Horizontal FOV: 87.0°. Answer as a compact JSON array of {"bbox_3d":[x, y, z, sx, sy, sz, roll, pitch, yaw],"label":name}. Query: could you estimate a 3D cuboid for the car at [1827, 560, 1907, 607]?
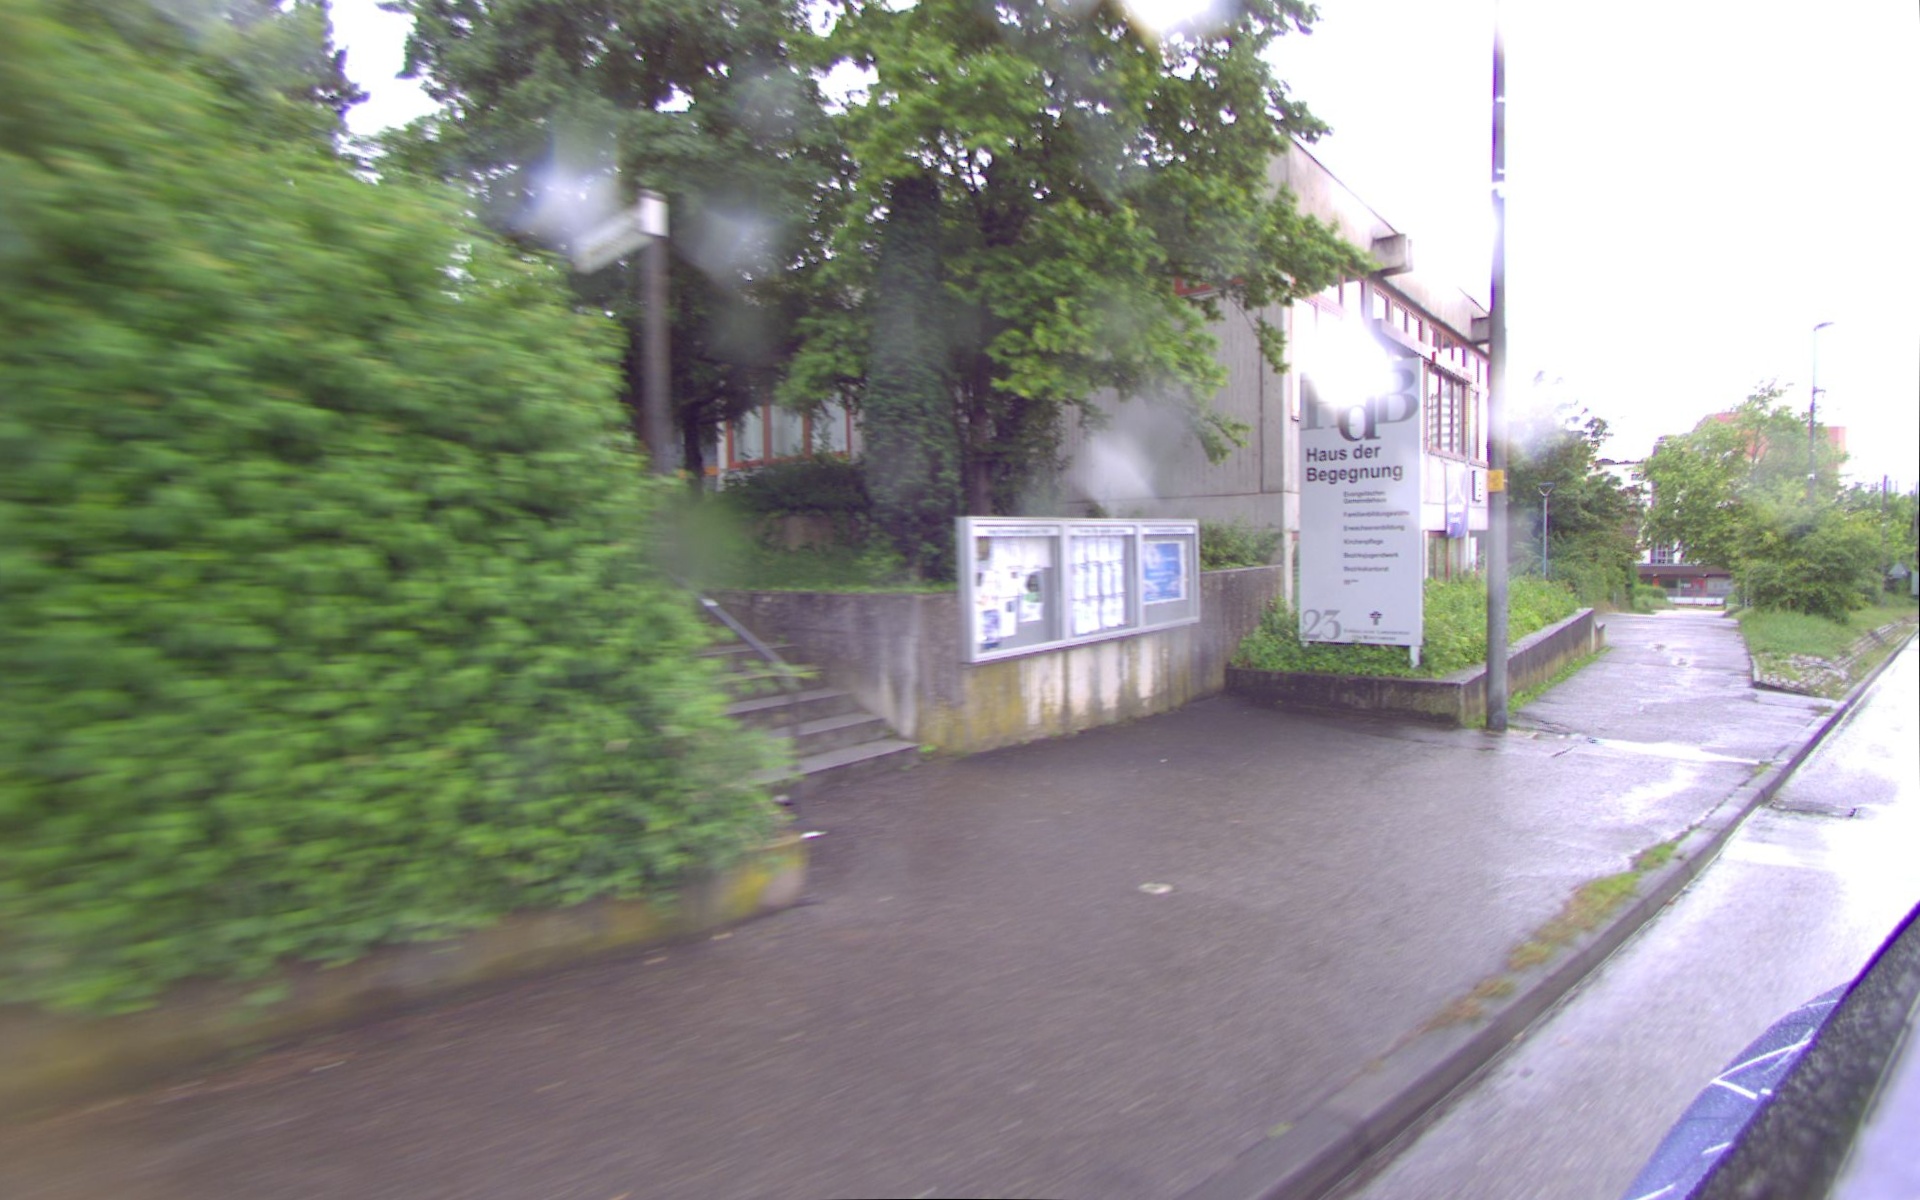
[{"bbox_3d":[36.864,-0.667,41.105,3.901,1.843,2.045,-1,1,-43],"label":"car"}]
